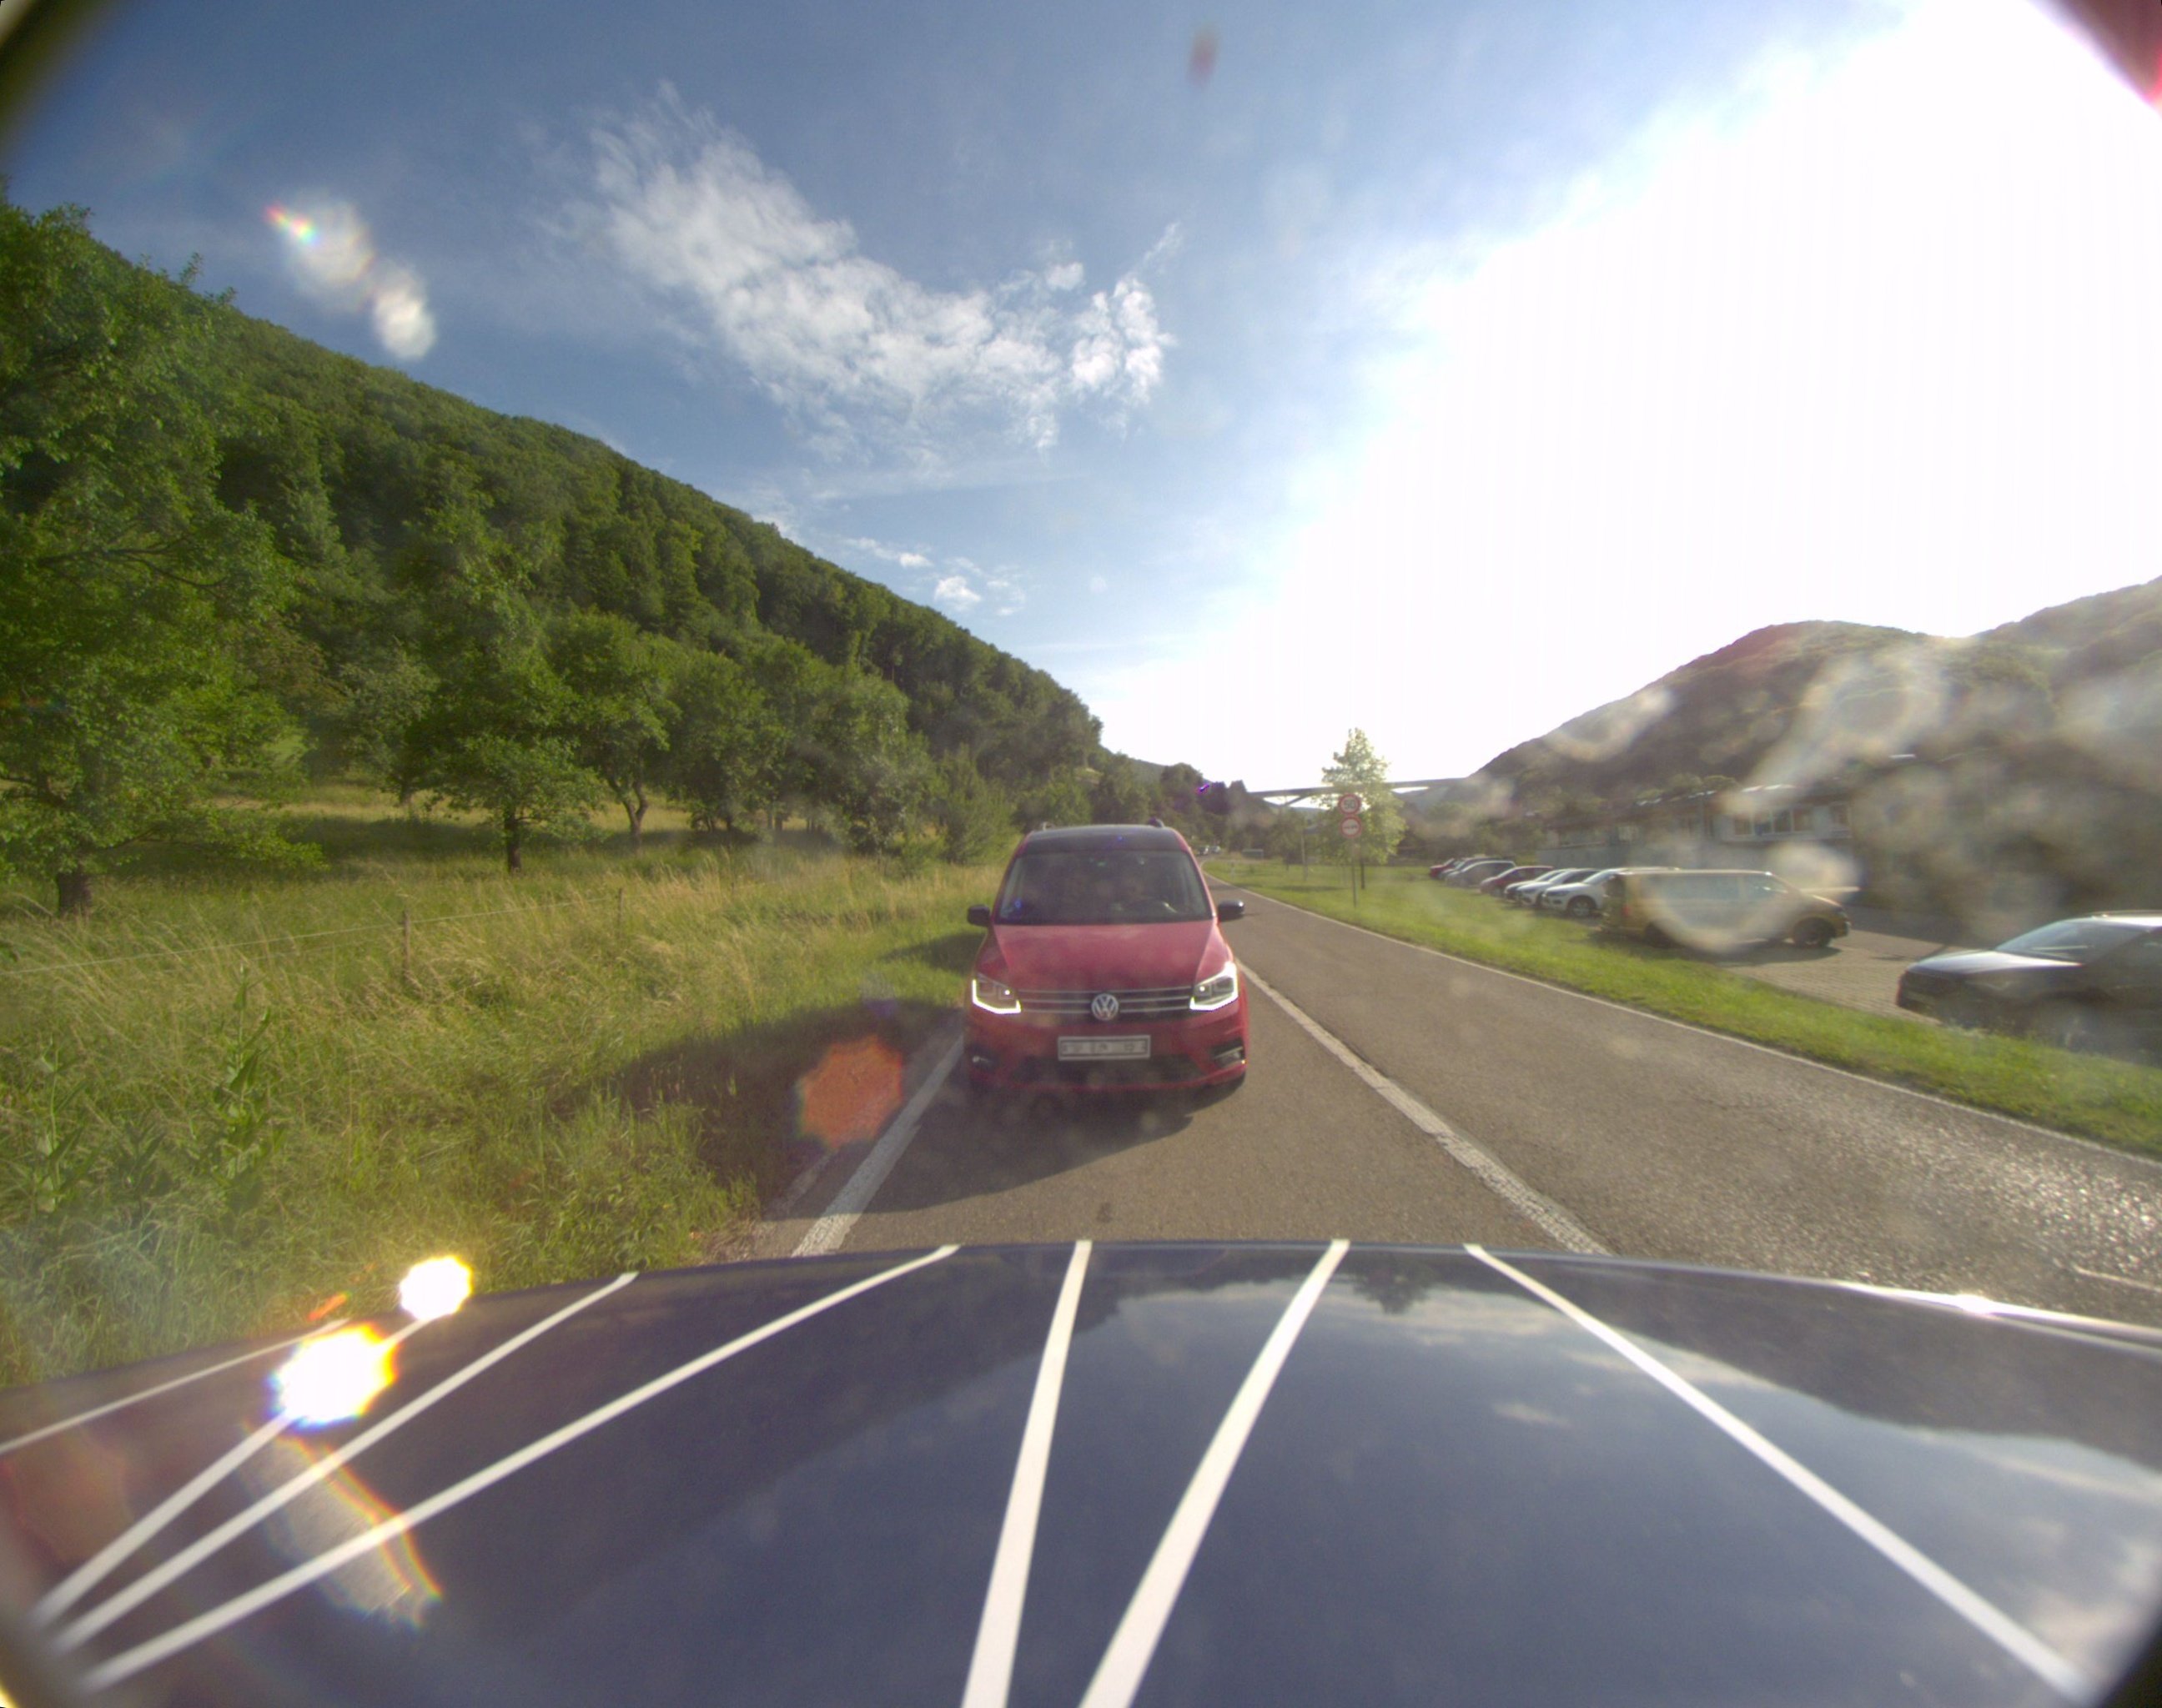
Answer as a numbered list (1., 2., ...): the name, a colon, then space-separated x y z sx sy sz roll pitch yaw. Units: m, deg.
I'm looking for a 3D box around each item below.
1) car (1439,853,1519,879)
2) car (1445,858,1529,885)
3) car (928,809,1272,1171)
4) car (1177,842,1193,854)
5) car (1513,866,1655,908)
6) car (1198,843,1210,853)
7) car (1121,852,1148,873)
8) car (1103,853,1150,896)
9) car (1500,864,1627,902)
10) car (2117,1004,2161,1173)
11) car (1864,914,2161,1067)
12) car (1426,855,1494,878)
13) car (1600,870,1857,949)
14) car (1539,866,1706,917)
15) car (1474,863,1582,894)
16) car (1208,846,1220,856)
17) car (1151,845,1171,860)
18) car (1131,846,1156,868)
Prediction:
1. car: 27.611 0.845 52.916 4.665 1.752 2.003 -1 0 18
2. car: 25.814 1.112 48.455 4.437 1.573 2.003 -2 0 18
3. car: 0.128 0.732 6.163 1.747 1.849 4.348 -2 0 1
4. car: 15.813 -0.857 115.323 1.797 1.725 4.288 -2 0 15
5. car: 20.207 1.321 30.779 4.437 1.577 2.003 -1 0 20
6. car: 22.532 -1.095 138.764 1.676 1.637 3.350 -2 0 17
7. car: 3.936 0.603 55.344 1.798 1.464 4.285 -2 0 6
8. car: 1.818 0.774 30.352 1.693 1.539 4.001 -2 0 3
9. car: 21.416 1.269 33.933 4.437 1.573 2.003 -1 0 18
10. car: 12.079 2.177 5.868 4.645 1.488 1.915 -1 0 15
11. car: 13.535 1.704 9.856 4.289 1.628 1.915 -3 0 15
12. car: 28.901 0.934 58.090 4.437 1.709 2.003 -1 0 18
13. car: 16.482 1.368 19.687 4.653 1.802 2.003 -1 0 20
14. car: 19.331 1.324 27.381 4.545 1.691 2.003 -1 0 20
15. car: 22.710 1.246 38.809 4.437 1.443 2.003 -1 0 20
16. car: 27.011 -0.640 153.762 1.996 1.706 4.006 -4 -3 14
17. car: 9.111 -0.157 86.018 1.911 1.675 4.003 -2 -1 10
18. car: 5.704 0.275 68.795 1.997 1.838 4.003 -2 0 8
